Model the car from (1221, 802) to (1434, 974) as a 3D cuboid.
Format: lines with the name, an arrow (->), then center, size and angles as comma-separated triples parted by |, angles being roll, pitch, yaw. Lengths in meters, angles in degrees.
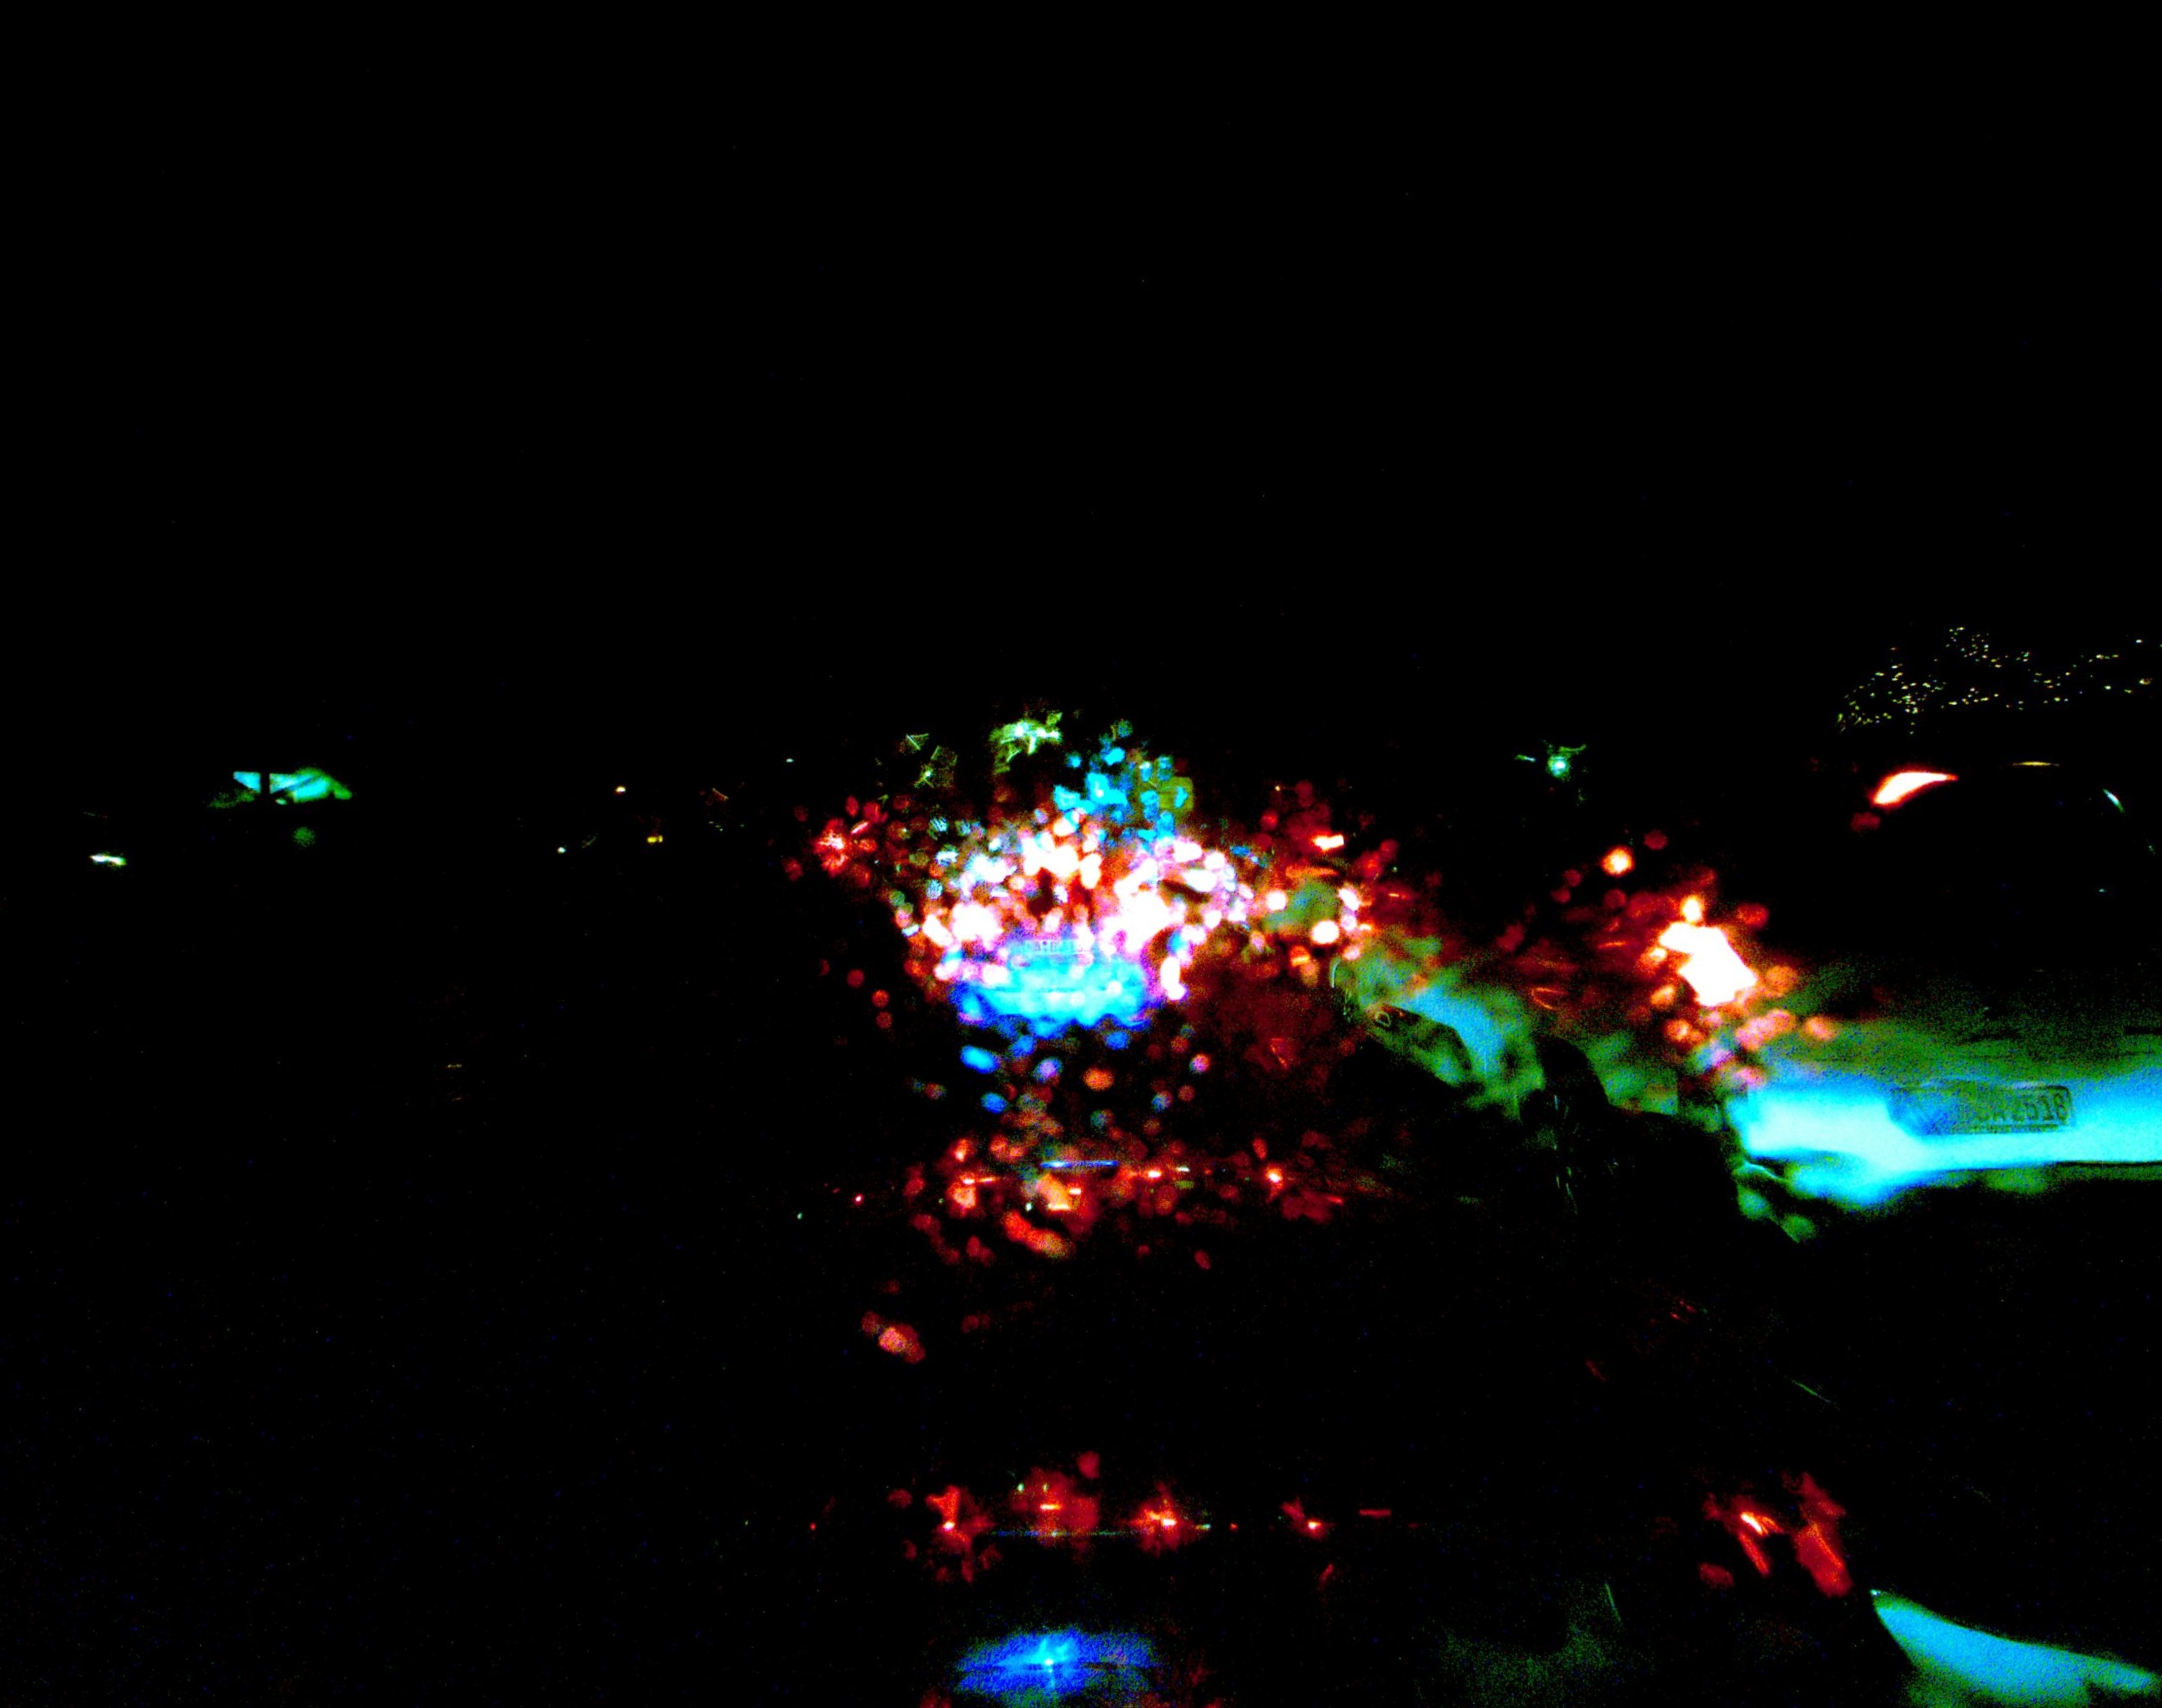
car -> 3.284, 0.425, 11.730 | 1.961, 2.047, 4.001 | 0, -1, 2

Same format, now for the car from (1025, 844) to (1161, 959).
car -> 0.238, 0.717, 13.957 | 1.986, 1.684, 4.001 | 0, -1, 2

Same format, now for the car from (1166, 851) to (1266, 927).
car -> 3.279, 0.816, 20.530 | 1.986, 1.718, 4.001 | 0, -1, 2

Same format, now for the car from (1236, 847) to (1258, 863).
car -> 19.114, 0.135, 93.952 | 1.857, 1.646, 3.965 | -3, -1, 2

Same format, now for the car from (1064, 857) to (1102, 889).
car -> 0.076, 1.112, 48.257 | 1.989, 1.824, 3.995 | 0, -1, -3

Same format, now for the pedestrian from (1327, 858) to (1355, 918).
pedestrian -> 7.499, 0.968, 23.504 | 0.621, 1.701, 0.541 | 0, -1, -1

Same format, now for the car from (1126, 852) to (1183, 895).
car -> 3.153, 0.845, 35.847 | 1.989, 1.773, 3.996 | 0, -1, -3

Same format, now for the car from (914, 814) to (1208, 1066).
car -> -0.096, 0.606, 7.799 | 2.007, 1.717, 4.452 | 0, -1, 1

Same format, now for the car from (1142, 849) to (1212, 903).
car -> 3.128, 0.696, 27.216 | 1.986, 1.670, 4.001 | 0, -1, 2

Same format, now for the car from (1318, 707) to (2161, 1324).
car -> 2.846, 0.506, 4.643 | 1.845, 1.865, 4.342 | 0, -1, 2

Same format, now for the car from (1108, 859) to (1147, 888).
car -> 2.552, 1.062, 45.581 | 1.853, 1.544, 3.927 | 0, -1, -2
